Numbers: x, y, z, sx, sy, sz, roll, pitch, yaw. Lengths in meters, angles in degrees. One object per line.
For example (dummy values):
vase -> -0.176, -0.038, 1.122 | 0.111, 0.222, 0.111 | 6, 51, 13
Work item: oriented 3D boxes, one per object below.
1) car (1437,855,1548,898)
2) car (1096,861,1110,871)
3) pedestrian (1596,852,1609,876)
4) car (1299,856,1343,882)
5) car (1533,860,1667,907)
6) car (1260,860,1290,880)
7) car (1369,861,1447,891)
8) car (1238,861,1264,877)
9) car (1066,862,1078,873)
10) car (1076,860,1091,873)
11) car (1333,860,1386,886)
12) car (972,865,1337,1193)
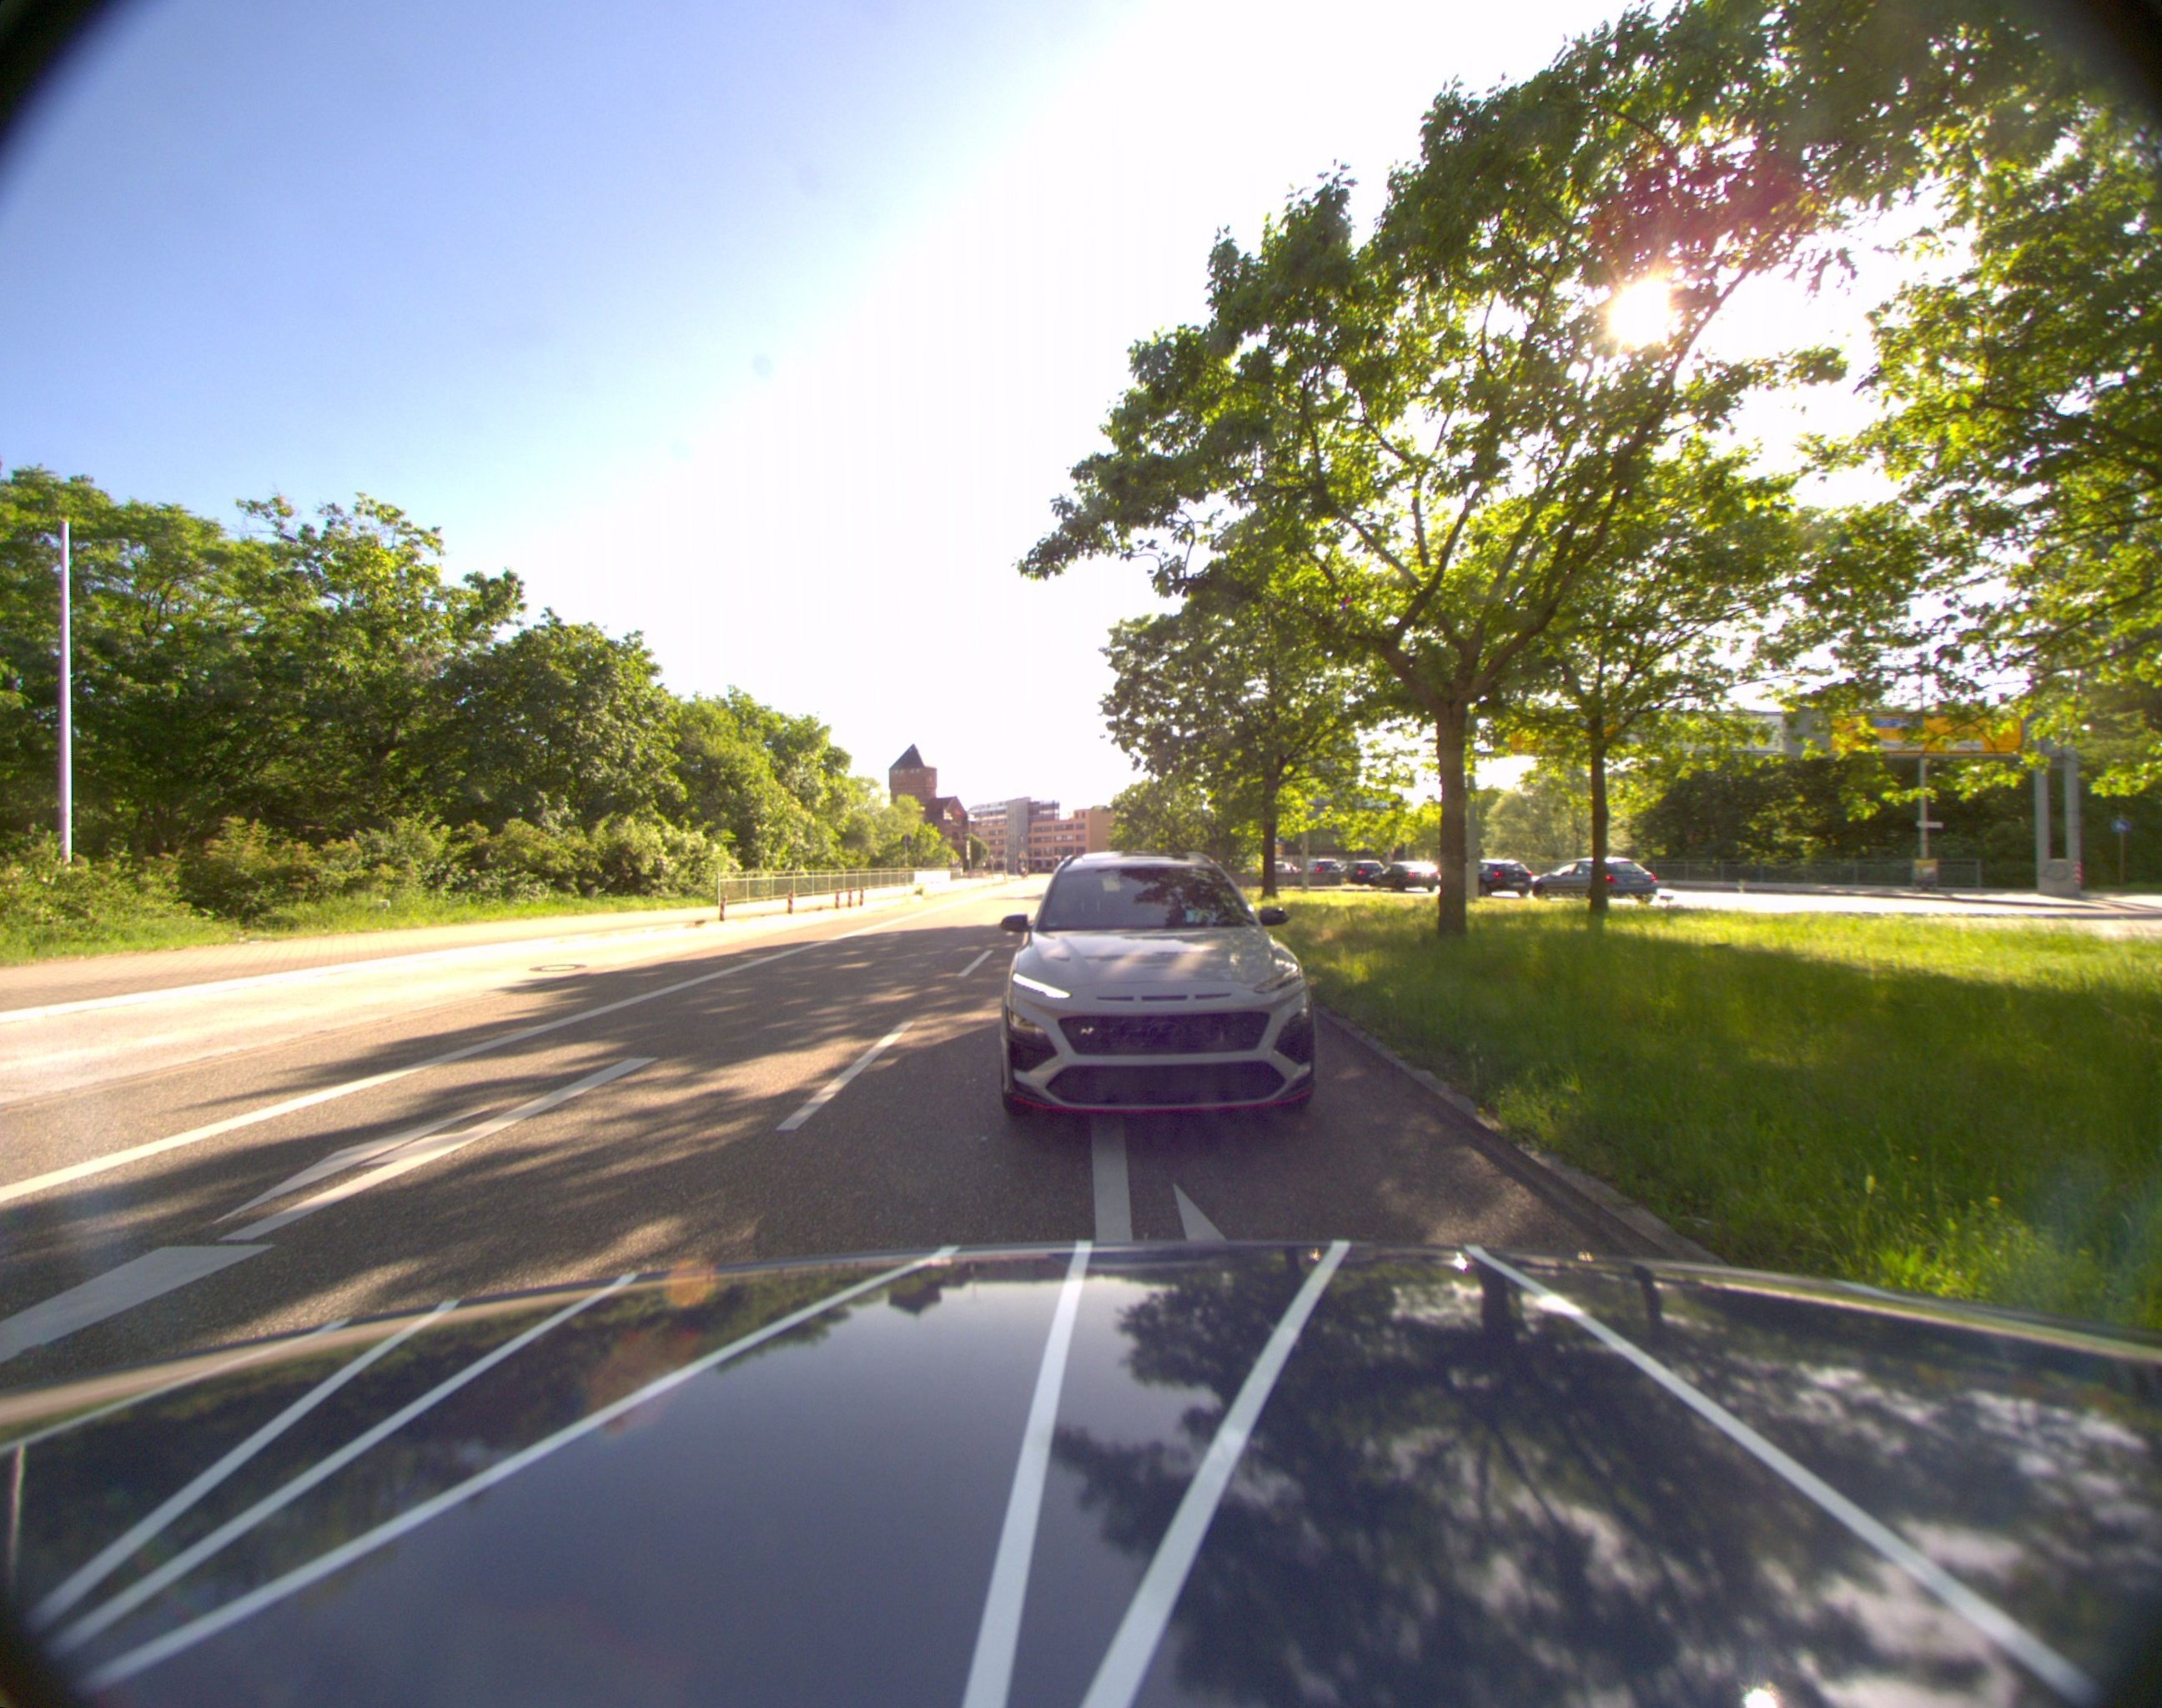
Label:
car -> 16.183, 0.843, 30.150 | 1.875, 1.541, 4.221 | -1, 0, -4
car -> 3.164, 1.729, 109.939 | 1.892, 1.420, 4.387 | -1, 0, 2
pedestrian -> 33.367, 0.625, 48.623 | 0.421, 1.490, 0.545 | -1, 0, -7
car -> 14.966, 0.989, 47.540 | 1.450, 1.549, 3.202 | -1, -2, -6
car -> 16.389, 0.878, 24.216 | 1.561, 1.355, 3.608 | -1, -1, -6
car -> 14.316, 1.204, 56.131 | 1.228, 1.331, 2.882 | -1, -3, -6
car -> 15.471, 0.995, 36.223 | 1.623, 1.305, 4.066 | -1, 0, -6
car -> 13.930, 1.276, 62.414 | 1.199, 1.252, 2.768 | -1, -2, -6
car -> -1.239, 1.878, 107.534 | 1.677, 1.463, 4.151 | -1, 0, 1
car -> 0.419, 2.006, 122.019 | 1.958, 2.002, 4.002 | -1, 0, 6
car -> 15.147, 1.030, 41.479 | 1.481, 1.331, 3.202 | -1, -1, -6
car -> 0.385, 0.882, 5.688 | 1.752, 1.523, 3.988 | -1, 0, 1
